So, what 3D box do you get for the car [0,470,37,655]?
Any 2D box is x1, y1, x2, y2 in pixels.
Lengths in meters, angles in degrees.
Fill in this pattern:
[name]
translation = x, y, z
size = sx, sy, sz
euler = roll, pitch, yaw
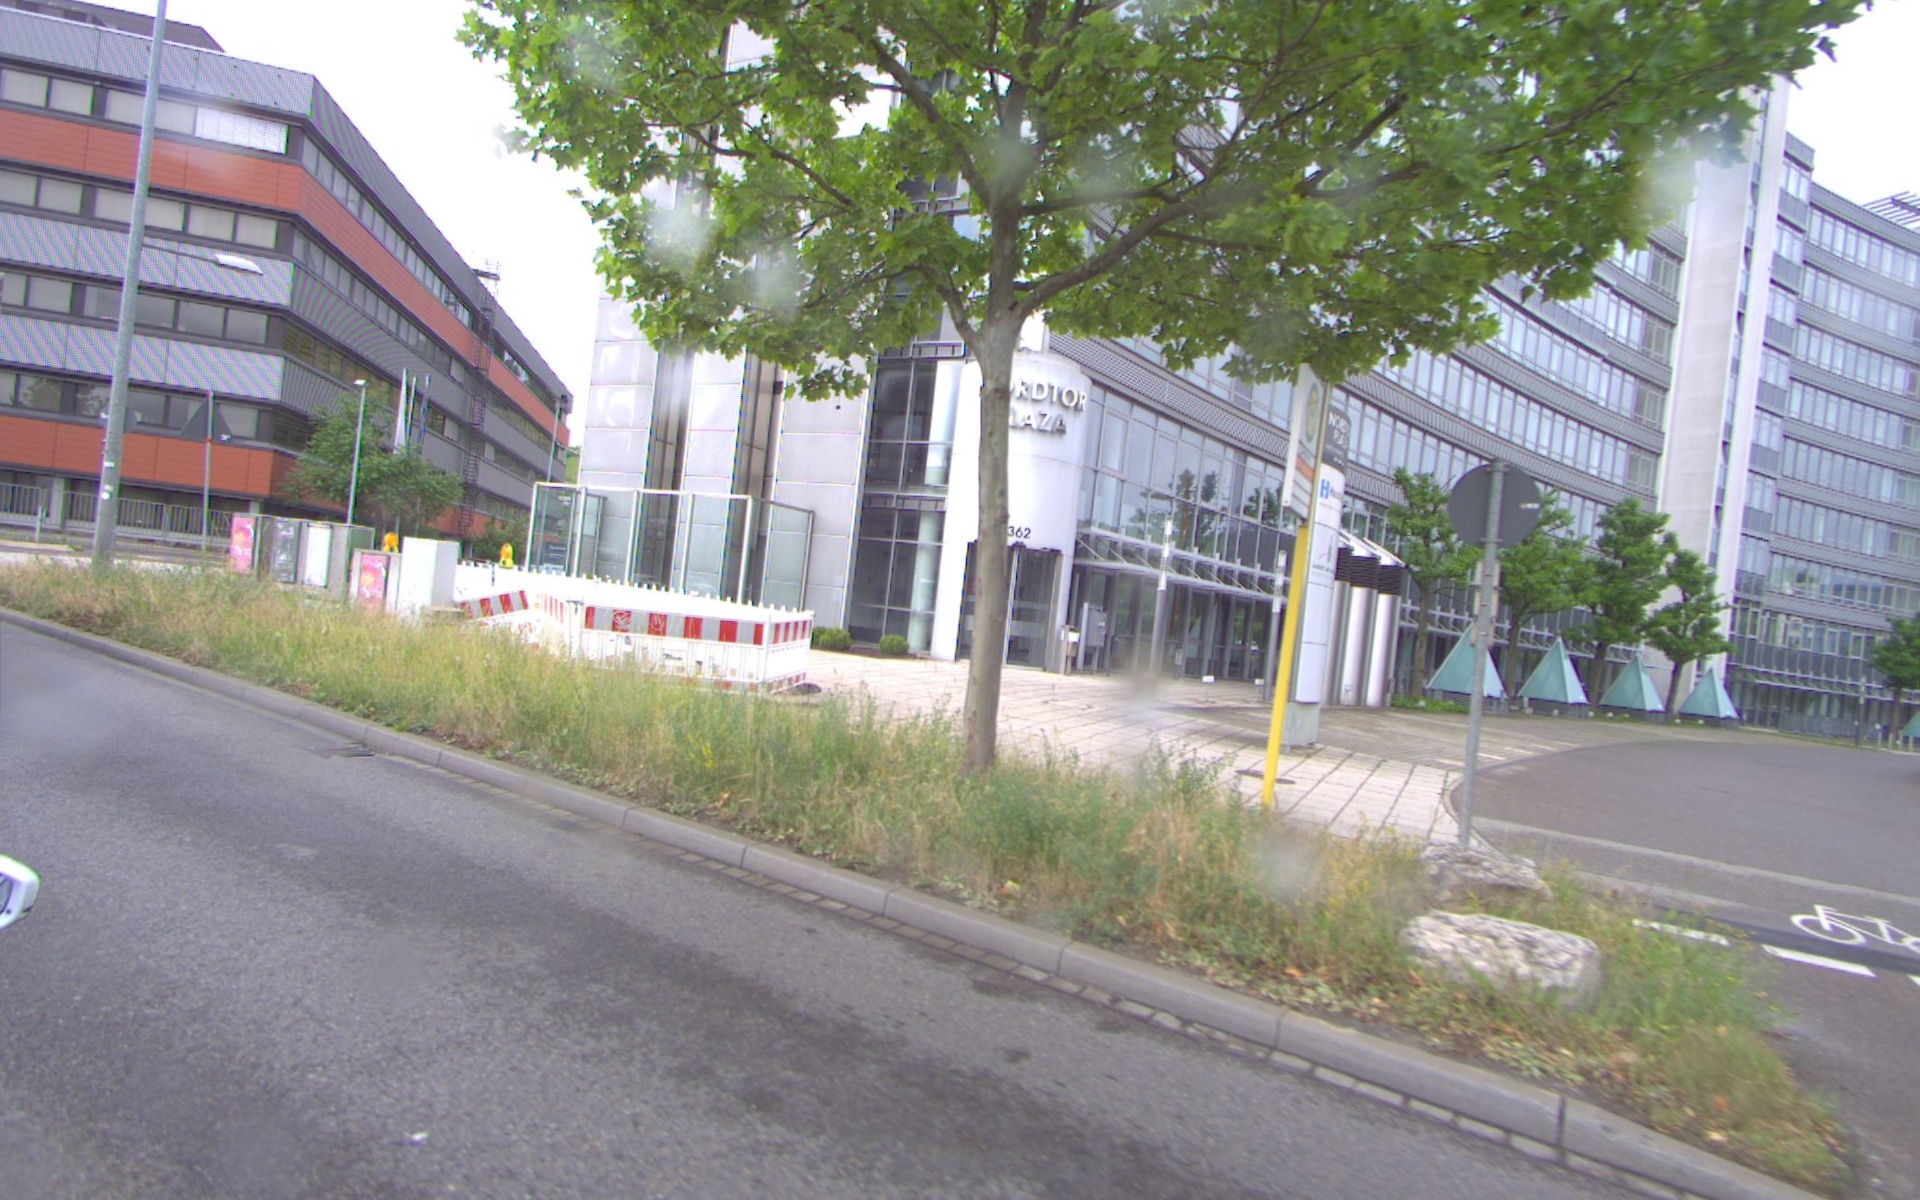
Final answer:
[car]
translation = -10.781, -0.558, 9.522
size = 3.933, 1.675, 1.832
euler = 5, -2, 30
